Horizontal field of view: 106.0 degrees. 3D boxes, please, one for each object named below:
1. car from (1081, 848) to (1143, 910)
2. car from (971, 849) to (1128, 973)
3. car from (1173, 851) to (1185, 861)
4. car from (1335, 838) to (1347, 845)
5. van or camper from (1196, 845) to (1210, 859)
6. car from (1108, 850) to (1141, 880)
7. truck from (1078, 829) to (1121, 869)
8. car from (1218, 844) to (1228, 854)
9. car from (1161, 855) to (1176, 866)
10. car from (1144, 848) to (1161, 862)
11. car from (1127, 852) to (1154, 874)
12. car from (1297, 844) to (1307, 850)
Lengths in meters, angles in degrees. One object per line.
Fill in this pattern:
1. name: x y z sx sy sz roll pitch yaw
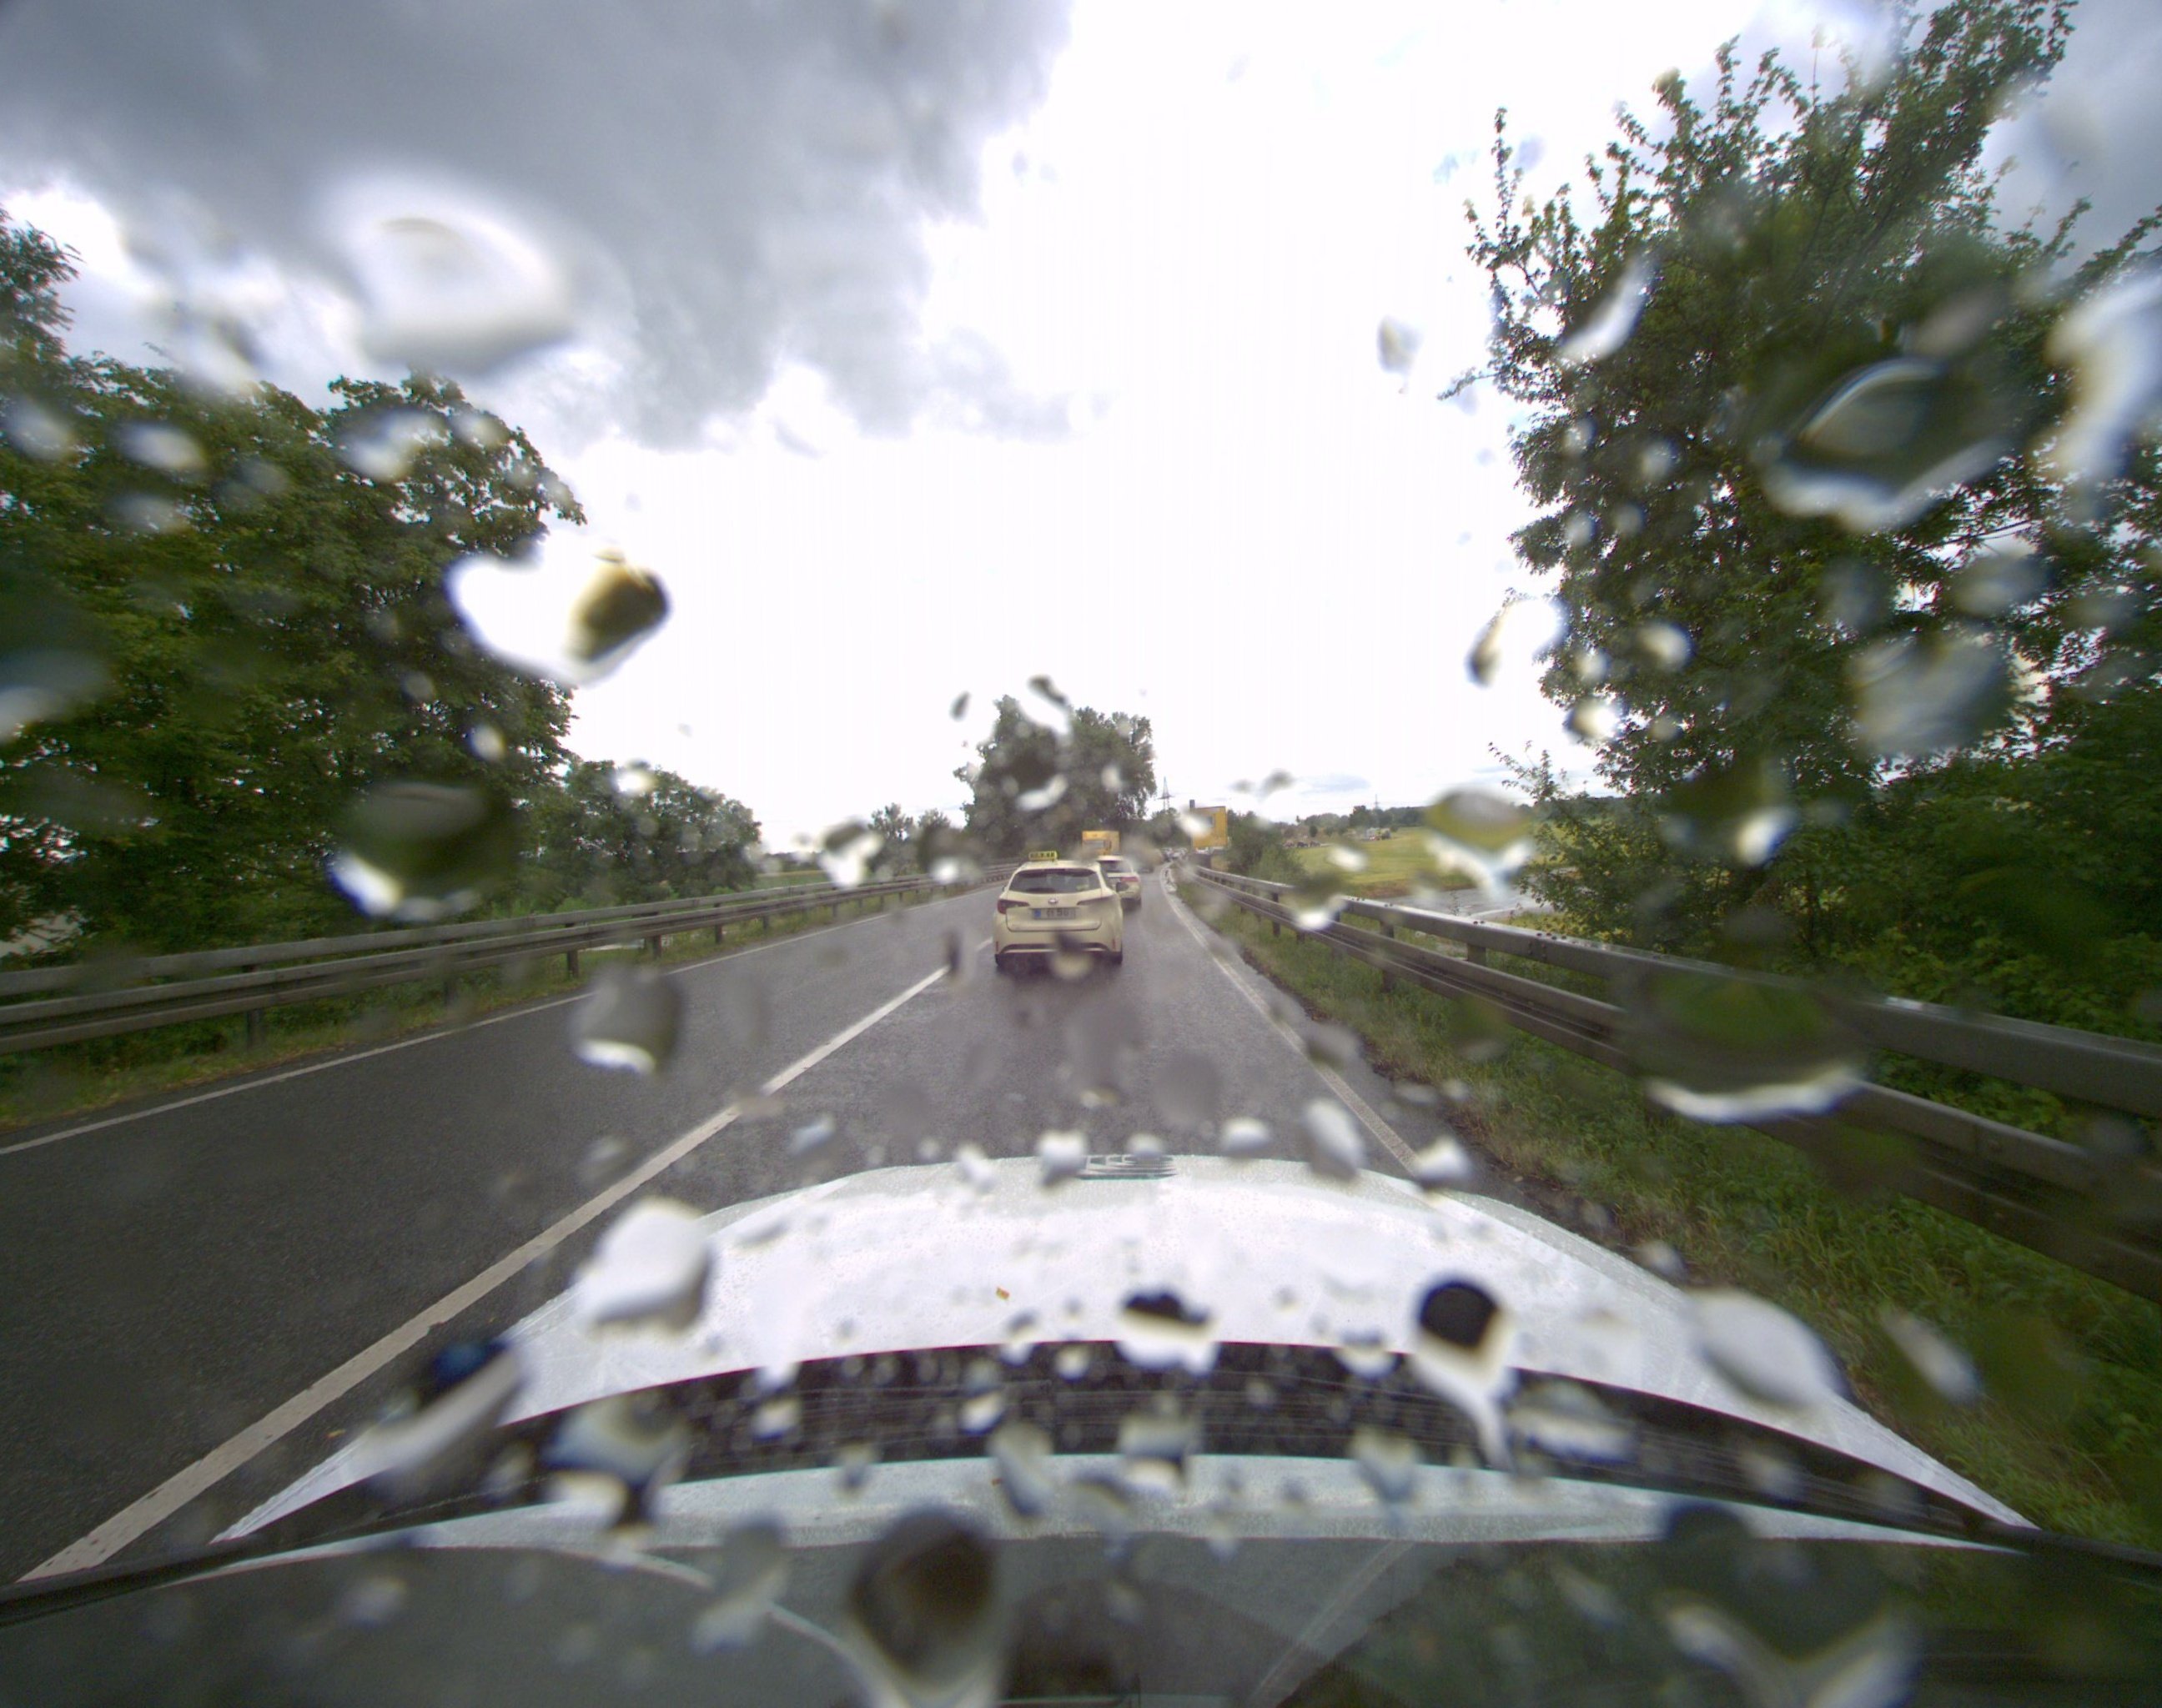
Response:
1. car: 0.942 0.659 22.932 1.571 1.572 3.686 -1 0 5
2. car: -0.286 0.727 12.420 1.897 1.537 4.166 -1 0 4
3. car: 14.100 0.288 116.844 1.473 1.309 3.488 -1 0 11
4. car: 80.187 -3.812 251.098 2.120 2.014 4.025 -1 -1 37
5. van or camper: 21.241 -0.354 141.735 1.979 2.254 4.015 -1 -1 14
6. car: 2.218 0.555 41.080 1.498 1.437 3.361 -1 0 6
7. truck: 1.844 -0.433 75.842 2.754 3.429 9.210 0 0 9
8. car: 28.054 -0.972 161.194 1.720 1.819 4.014 -1 -1 12
9. car: 10.709 0.759 99.473 1.473 1.309 3.488 -1 0 11
10. car: 7.516 0.083 85.600 1.652 1.409 3.911 -1 -1 6
11. car: 4.217 0.589 57.480 1.656 1.464 3.484 -1 0 7
12. car: 61.501 -1.931 226.293 1.801 1.838 4.013 -1 -1 30
